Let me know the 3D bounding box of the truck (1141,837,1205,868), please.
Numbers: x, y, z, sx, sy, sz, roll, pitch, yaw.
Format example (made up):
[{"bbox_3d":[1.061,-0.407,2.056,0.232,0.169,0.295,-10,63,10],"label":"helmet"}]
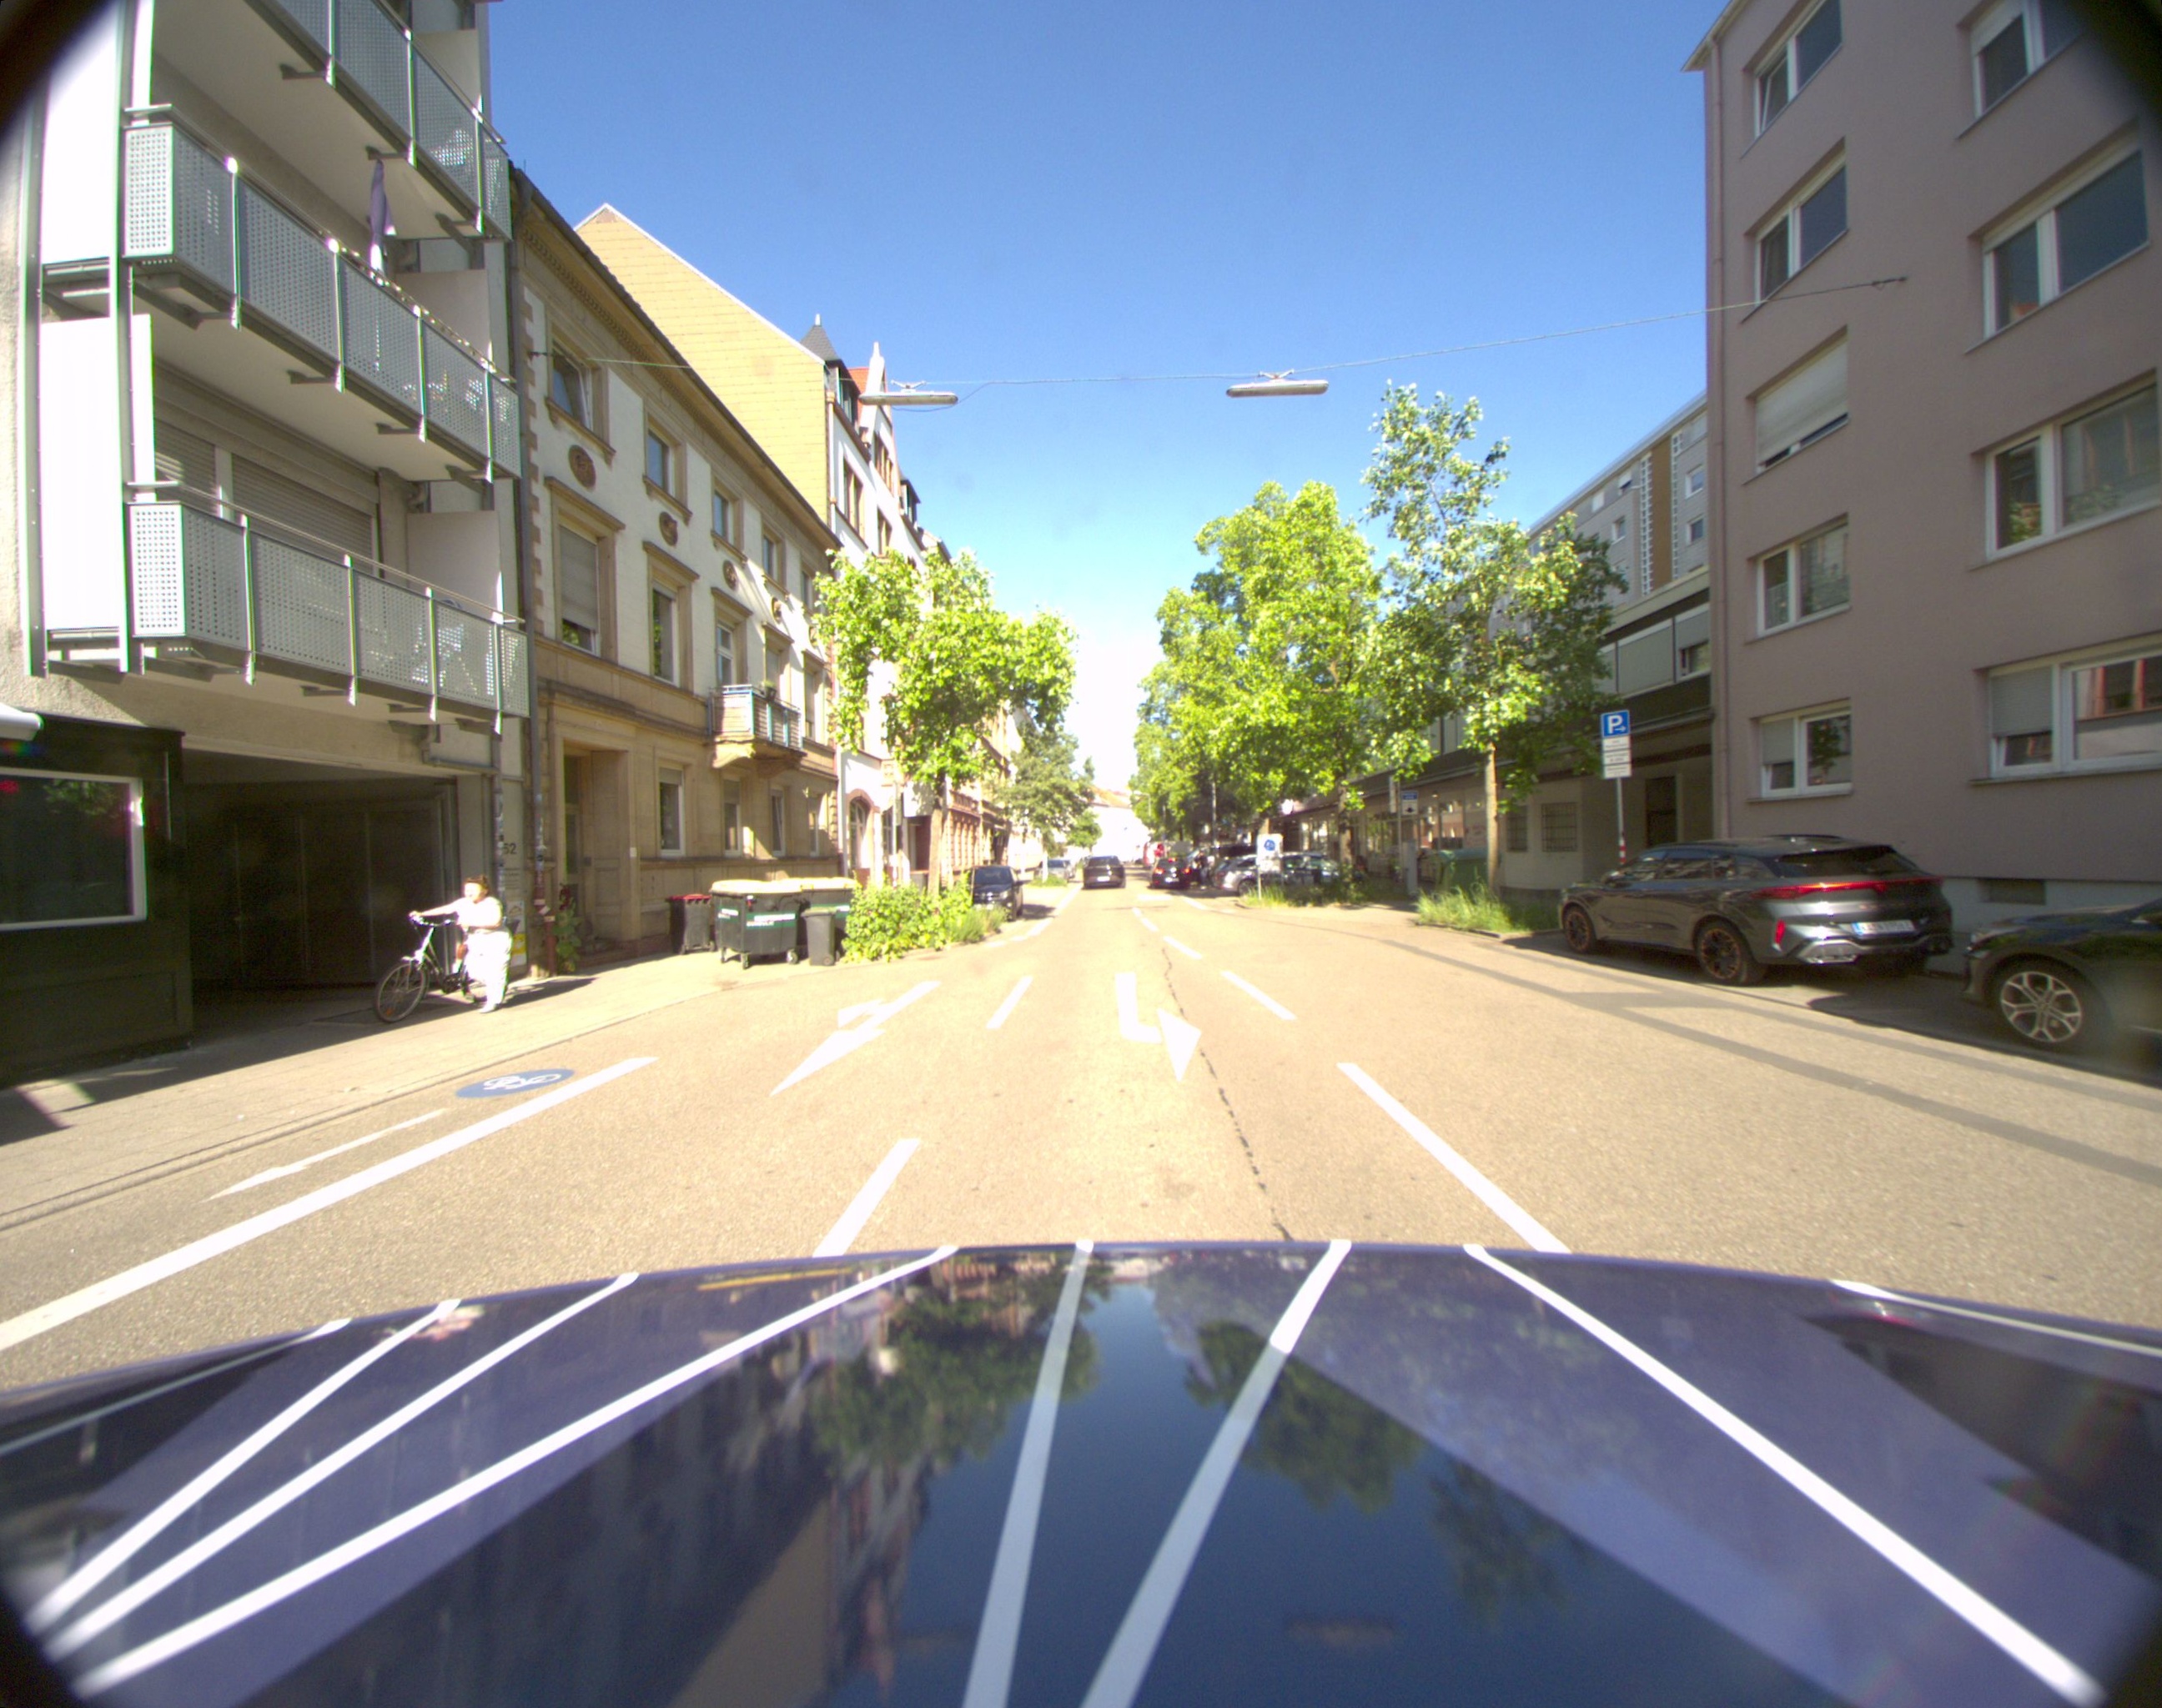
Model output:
[{"bbox_3d":[8.336,-0.139,68.940,5.321,2.581,1.998,-2,1,-8],"label":"truck"}]

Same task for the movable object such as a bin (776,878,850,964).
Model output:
[{"bbox_3d":[-4.703,1.139,13.315,0.960,1.341,1.066,-1,2,-36],"label":"movable object such as a bin"}]

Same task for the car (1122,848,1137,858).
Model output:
[{"bbox_3d":[9.933,-0.157,154.608,1.996,2.002,4.005,-1,0,19],"label":"car"}]

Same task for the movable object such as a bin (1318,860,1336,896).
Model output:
[{"bbox_3d":[8.347,0.814,25.785,0.488,1.218,0.410,-2,1,3],"label":"movable object such as a bin"}]

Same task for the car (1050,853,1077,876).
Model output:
[{"bbox_3d":[-1.173,0.709,52.588,1.653,1.483,3.290,-2,0,2],"label":"car"}]

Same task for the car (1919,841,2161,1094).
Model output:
[{"bbox_3d":[7.647,0.716,4.034,1.821,1.499,4.246,-4,0,4],"label":"car"}]

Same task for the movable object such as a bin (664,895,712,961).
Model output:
[{"bbox_3d":[-6.935,1.287,13.415,0.615,1.075,0.568,2,3,44],"label":"movable object such as a bin"}]

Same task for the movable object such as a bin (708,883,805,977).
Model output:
[{"bbox_3d":[-5.236,1.175,12.252,1.212,1.318,1.052,2,3,44],"label":"movable object such as a bin"}]

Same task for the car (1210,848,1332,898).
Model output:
[{"bbox_3d":[6.871,0.667,27.820,3.996,1.665,2.000,-2,0,3],"label":"car"}]

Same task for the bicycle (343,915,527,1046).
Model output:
[{"bbox_3d":[-6.948,1.305,8.295,0.402,1.126,1.792,0,0,3],"label":"bicycle"}]

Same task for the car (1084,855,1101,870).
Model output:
[{"bbox_3d":[1.166,0.810,75.799,1.653,1.447,3.290,-2,0,2],"label":"car"}]

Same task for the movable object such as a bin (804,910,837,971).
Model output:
[{"bbox_3d":[-4.223,1.399,12.336,0.401,0.916,0.484,0,2,-6],"label":"movable object such as a bin"}]

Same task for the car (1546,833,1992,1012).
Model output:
[{"bbox_3d":[7.867,0.660,9.371,1.821,1.583,4.142,-5,0,4],"label":"car"}]

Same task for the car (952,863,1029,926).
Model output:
[{"bbox_3d":[-2.383,1.036,20.766,1.551,1.483,3.352,-2,0,2],"label":"car"}]

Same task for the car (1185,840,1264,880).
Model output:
[{"bbox_3d":[7.875,0.311,41.908,3.996,2.020,2.000,-2,1,3],"label":"car"}]

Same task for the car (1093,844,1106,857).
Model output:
[{"bbox_3d":[3.001,-0.511,123.961,1.998,2.002,4.001,-2,0,3],"label":"car"}]

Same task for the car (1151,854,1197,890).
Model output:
[{"bbox_3d":[4.232,0.786,35.024,1.867,1.455,4.001,-2,0,4],"label":"car"}]

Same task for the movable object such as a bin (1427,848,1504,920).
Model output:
[{"bbox_3d":[8.623,0.658,17.091,1.246,1.536,1.019,-2,1,7],"label":"movable object such as a bin"}]

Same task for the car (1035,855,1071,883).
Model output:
[{"bbox_3d":[-1.541,0.811,43.278,1.759,1.492,3.950,-2,0,2],"label":"car"}]

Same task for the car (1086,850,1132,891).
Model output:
[{"bbox_3d":[1.360,0.745,36.633,1.993,1.599,4.260,-3,3,3],"label":"car"}]

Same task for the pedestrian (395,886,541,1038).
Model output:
[{"bbox_3d":[-6.766,1.153,8.442,0.825,1.529,0.947,2,1,2],"label":"pedestrian"}]
